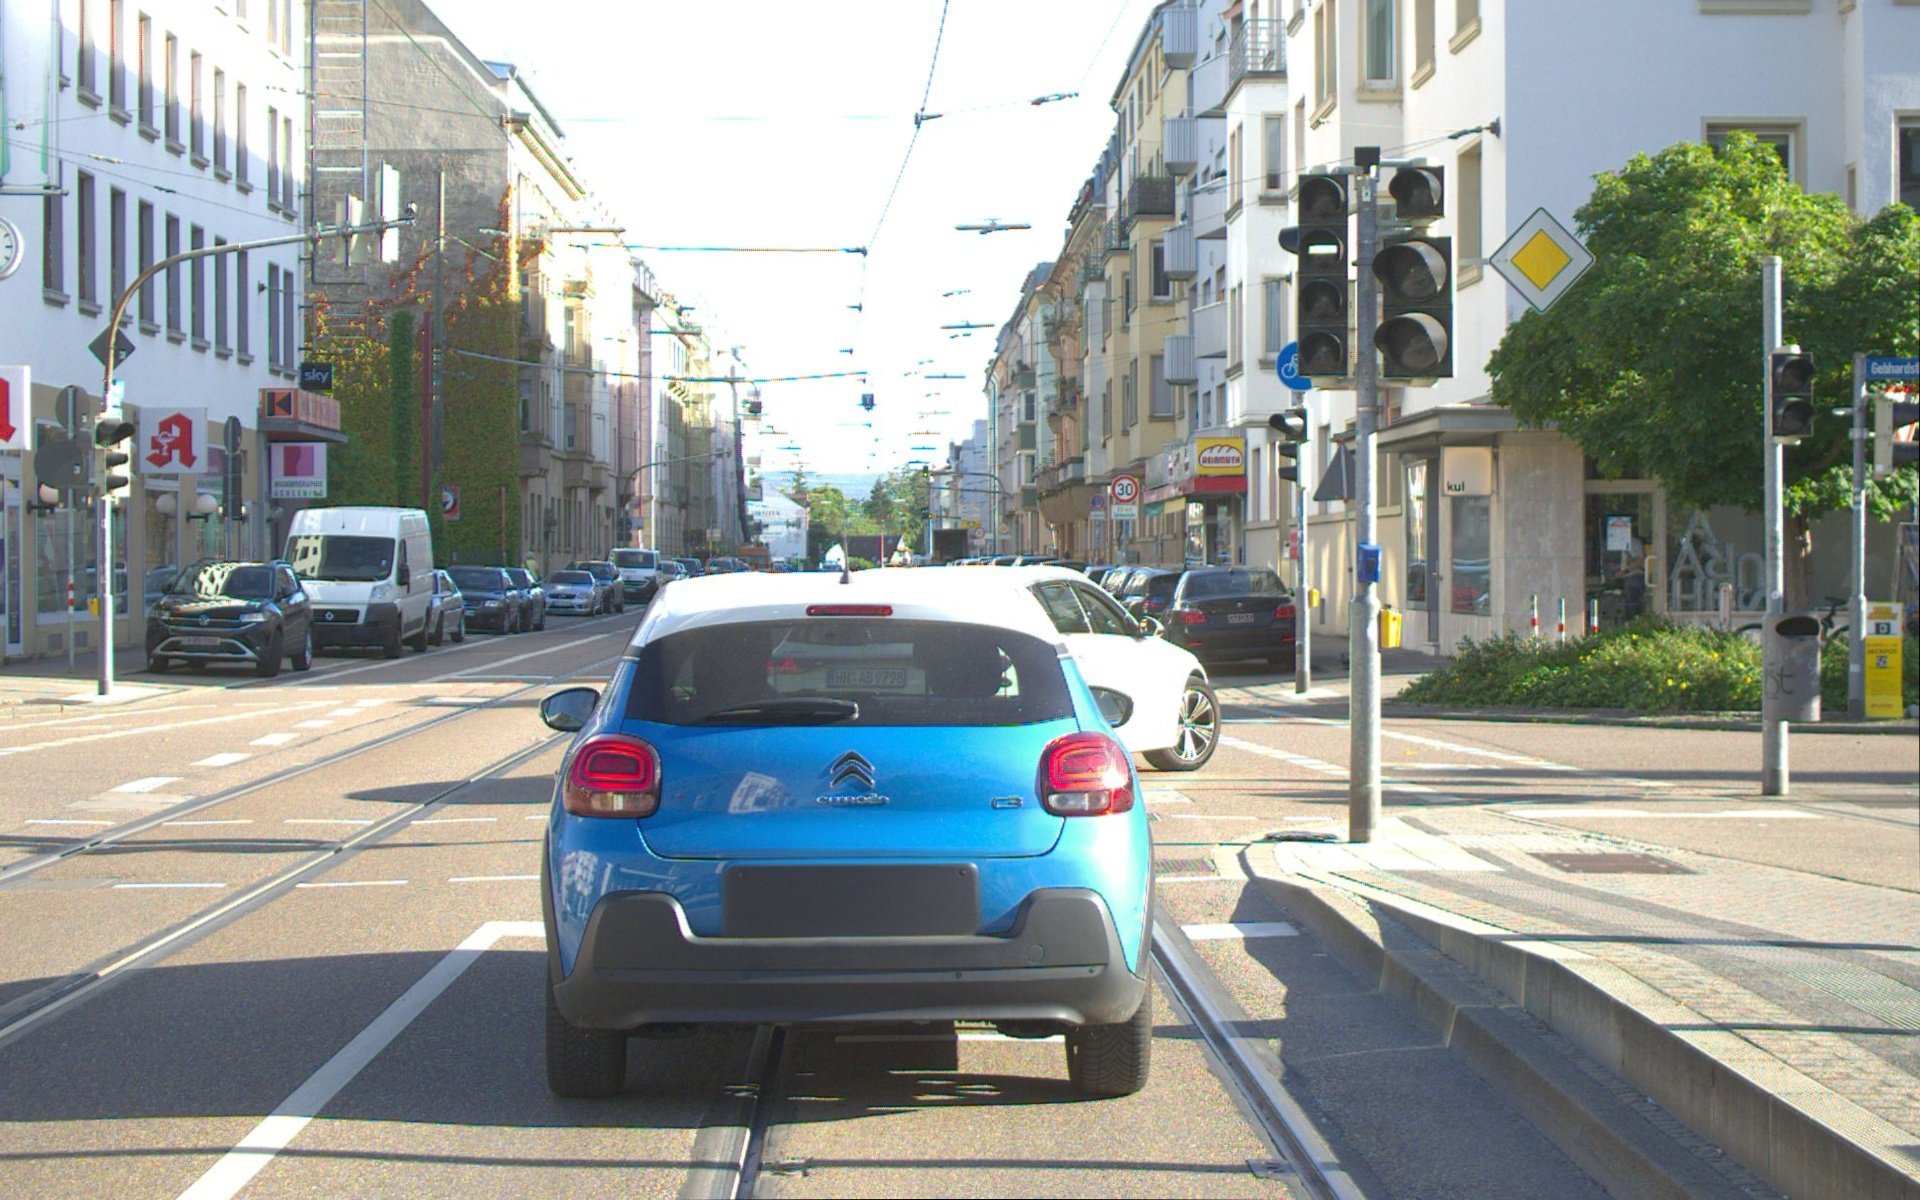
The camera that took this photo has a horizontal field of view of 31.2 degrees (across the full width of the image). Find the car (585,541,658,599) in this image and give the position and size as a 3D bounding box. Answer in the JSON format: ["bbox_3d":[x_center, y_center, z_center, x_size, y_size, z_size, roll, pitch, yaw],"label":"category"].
[{"bbox_3d":[-12.022,-1.048,122.293,2.006,2.007,4.689,1,0,1],"label":"car"}]

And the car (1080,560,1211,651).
[{"bbox_3d":[3.114,0.071,58.301,1.993,1.496,4.000,0,1,0],"label":"car"}]

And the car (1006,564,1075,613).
[{"bbox_3d":[2.418,-0.364,104.082,1.993,1.459,4.000,0,1,0],"label":"car"}]

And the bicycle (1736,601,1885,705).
[{"bbox_3d":[9.391,0.576,37.997,1.568,1.117,0.300,1,0,10],"label":"bicycle"}]

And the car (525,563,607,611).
[{"bbox_3d":[-11.283,-0.367,98.606,1.993,1.320,3.923,1,0,-2],"label":"car"}]

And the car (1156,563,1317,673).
[{"bbox_3d":[3.800,0.215,47.796,1.909,1.459,4.000,0,1,0],"label":"car"}]

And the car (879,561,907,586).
[{"bbox_3d":[-4.871,-1.953,249.232,1.993,1.766,4.000,0,1,-1],"label":"car"}]

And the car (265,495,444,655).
[{"bbox_3d":[-10.149,-0.433,58.115,2.085,2.533,6.206,1,1,-2],"label":"car"}]

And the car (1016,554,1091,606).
[{"bbox_3d":[2.622,-0.576,97.530,1.993,1.459,4.504,0,1,0],"label":"car"}]

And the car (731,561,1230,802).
[{"bbox_3d":[0.281,0.477,23.437,1.986,1.459,4.811,0,0,19],"label":"car"}]

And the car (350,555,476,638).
[{"bbox_3d":[-10.271,-0.076,64.711,1.888,1.491,3.562,1,0,-2],"label":"car"}]

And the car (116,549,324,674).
[{"bbox_3d":[-10.215,0.146,47.758,1.993,1.563,4.403,3,0,-2],"label":"car"}]

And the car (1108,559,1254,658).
[{"bbox_3d":[3.365,0.106,53.072,1.993,1.459,4.000,0,1,0],"label":"car"}]

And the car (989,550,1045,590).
[{"bbox_3d":[2.120,-1.118,128.634,1.993,1.459,4.000,0,1,0],"label":"car"}]

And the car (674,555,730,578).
[{"bbox_3d":[-13.500,-1.756,180.169,1.994,1.152,4.513,0,1,9],"label":"car"}]

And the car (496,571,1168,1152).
[{"bbox_3d":[-0.363,0.666,10.860,1.728,1.477,3.827,1,1,-1],"label":"car"}]

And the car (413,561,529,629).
[{"bbox_3d":[-10.435,-0.110,73.562,1.993,1.393,4.157,1,0,-2],"label":"car"}]
